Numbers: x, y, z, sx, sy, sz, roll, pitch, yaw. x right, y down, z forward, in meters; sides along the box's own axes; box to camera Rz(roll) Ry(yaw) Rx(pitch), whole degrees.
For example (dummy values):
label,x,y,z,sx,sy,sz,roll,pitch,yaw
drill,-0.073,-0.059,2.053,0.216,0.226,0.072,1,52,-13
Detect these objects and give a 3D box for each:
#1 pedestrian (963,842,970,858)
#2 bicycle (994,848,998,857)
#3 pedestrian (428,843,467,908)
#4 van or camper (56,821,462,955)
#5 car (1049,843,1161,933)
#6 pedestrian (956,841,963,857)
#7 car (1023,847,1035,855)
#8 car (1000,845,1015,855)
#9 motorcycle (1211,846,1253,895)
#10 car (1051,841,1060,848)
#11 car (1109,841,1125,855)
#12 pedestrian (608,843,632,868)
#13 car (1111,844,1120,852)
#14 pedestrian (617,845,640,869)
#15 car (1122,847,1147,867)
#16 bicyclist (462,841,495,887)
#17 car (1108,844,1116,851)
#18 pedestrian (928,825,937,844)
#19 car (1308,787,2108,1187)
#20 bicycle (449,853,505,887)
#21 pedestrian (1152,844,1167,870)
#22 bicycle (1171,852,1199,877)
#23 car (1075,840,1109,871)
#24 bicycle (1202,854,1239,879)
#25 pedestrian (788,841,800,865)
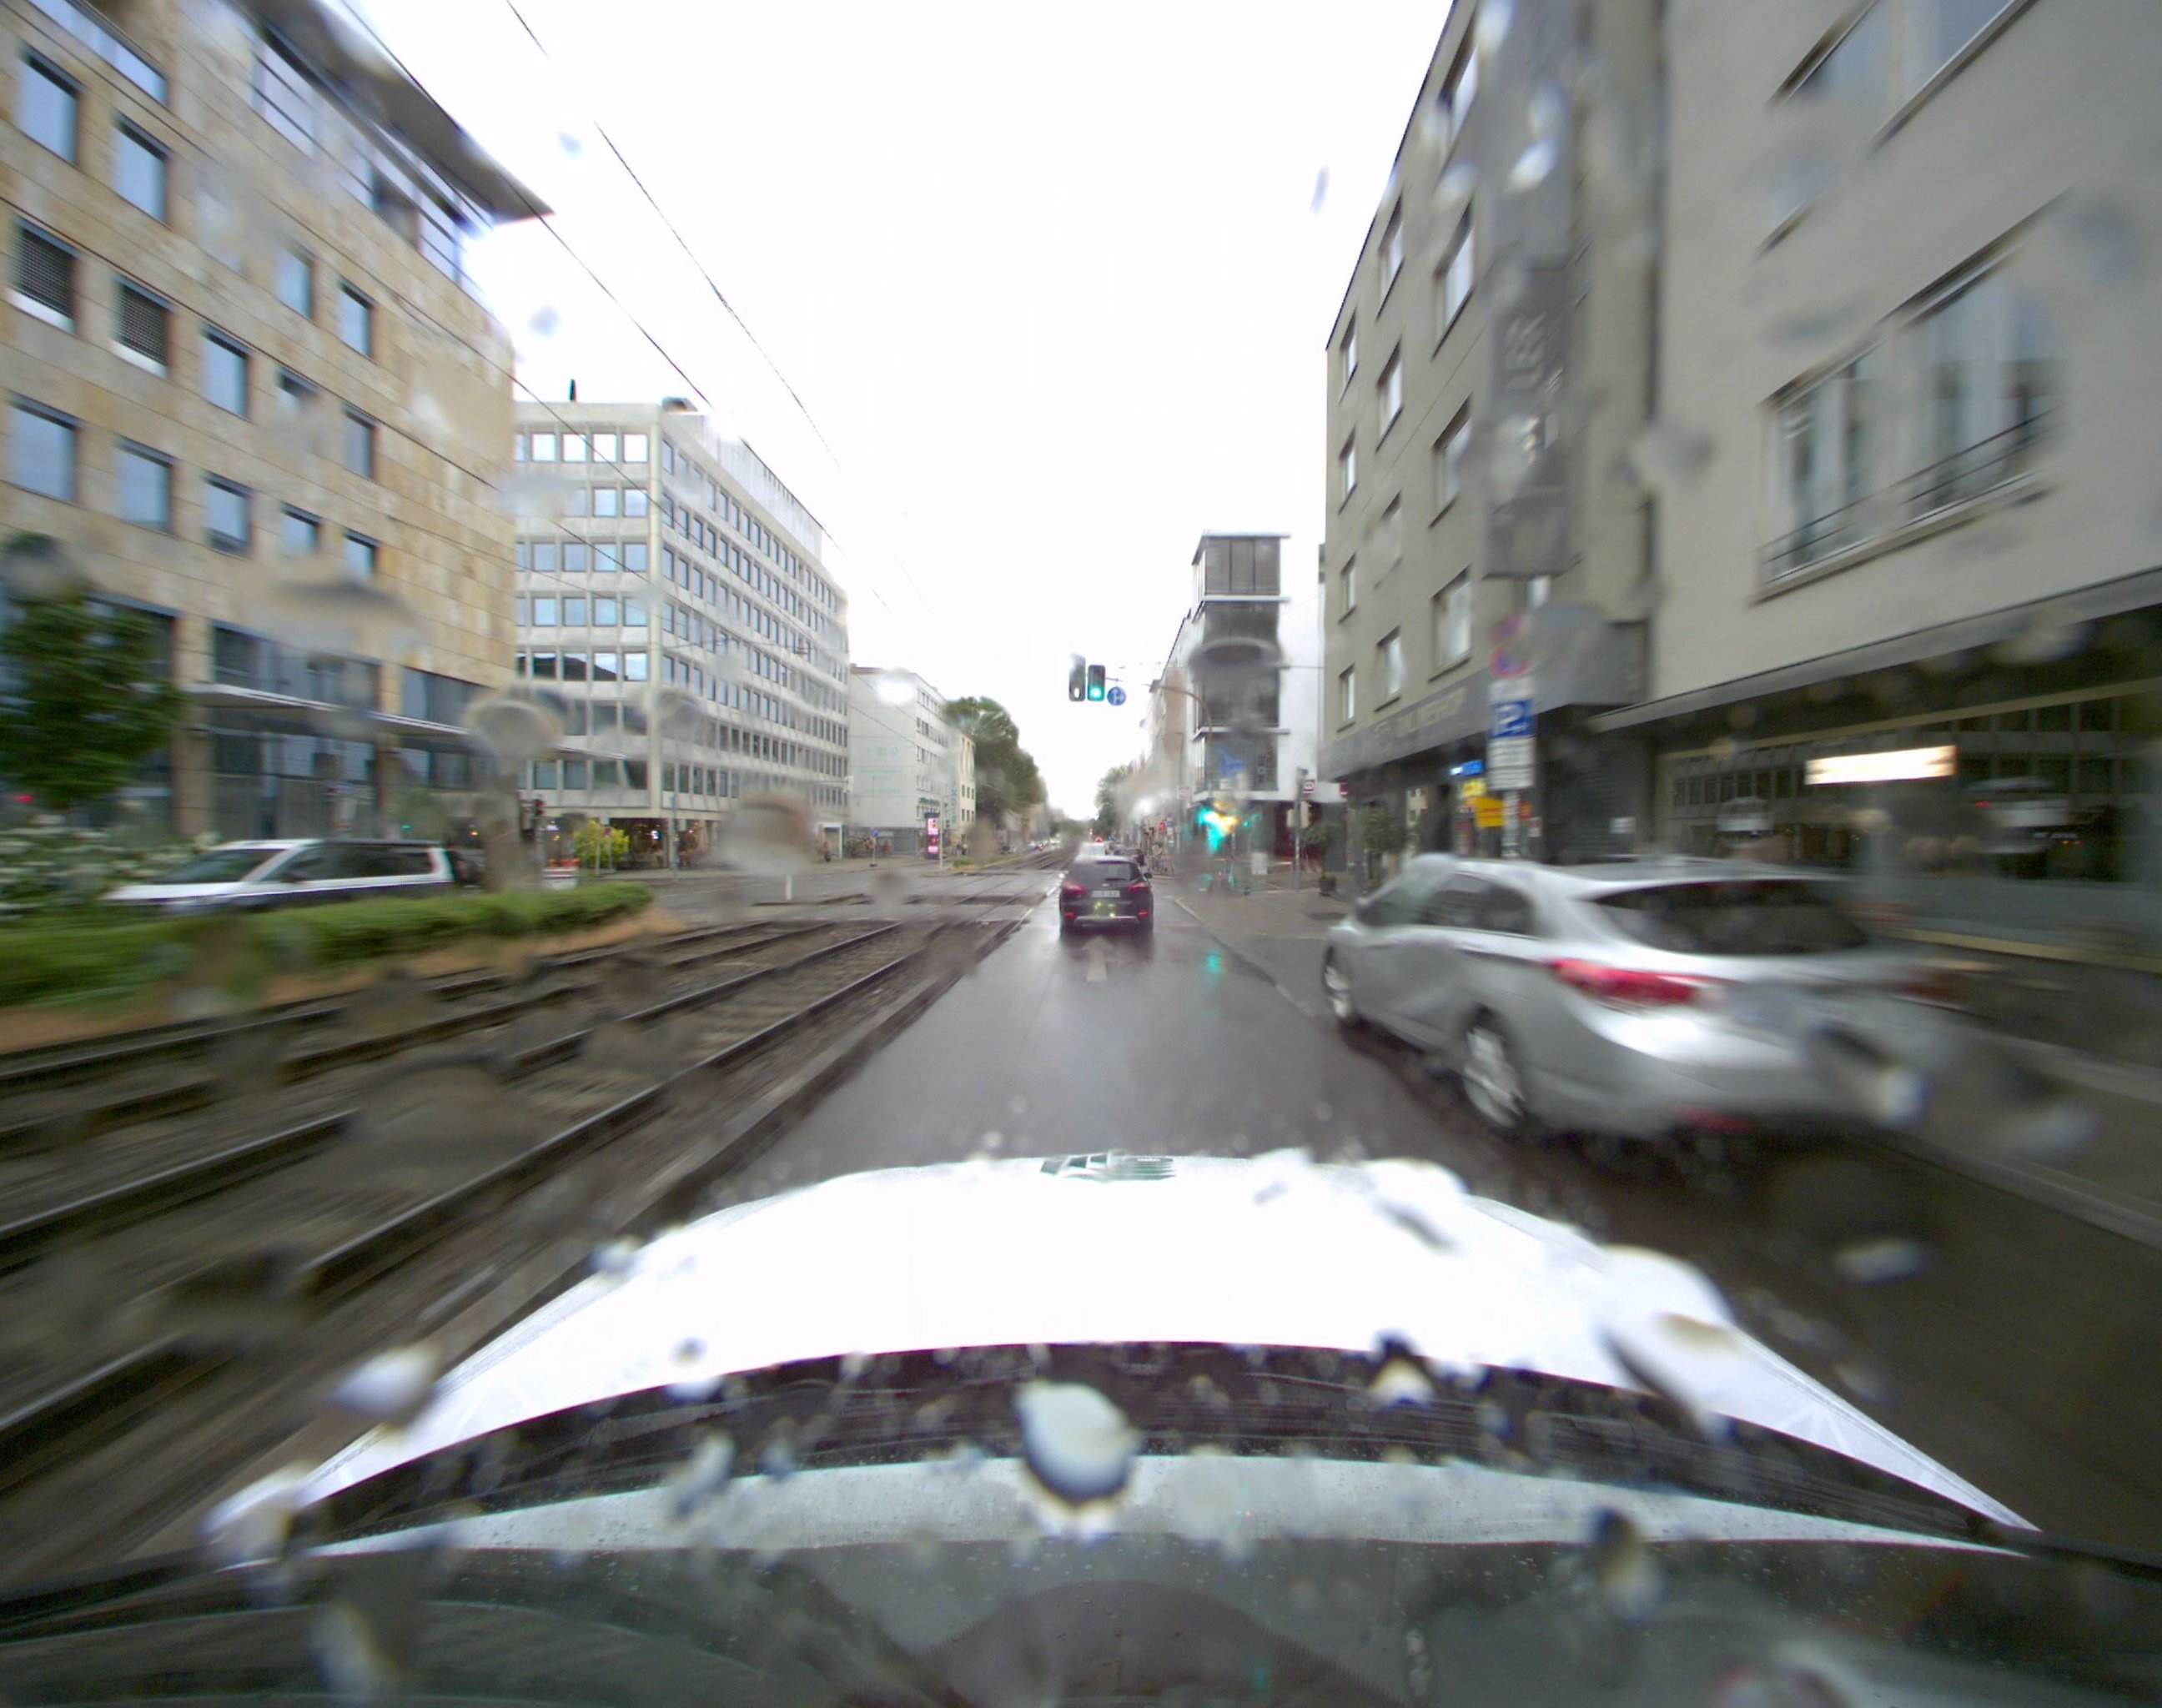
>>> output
label,x,y,z,sx,sy,sz,roll,pitch,yaw
pedestrian,-13.878,-0.511,98.622,0.676,1.896,0.743,1,0,1
bicycle,-12.393,-0.241,118.885,0.590,1.226,2.399,1,0,-6
pedestrian,-17.811,0.590,22.892,0.670,1.781,0.708,1,1,36
van or camper,-14.427,0.541,14.937,2.009,1.997,5.199,1,-1,2
car,0.499,0.617,16.717,1.986,1.594,4.273,0,0,2
pedestrian,-14.706,-0.566,98.681,0.724,1.896,0.983,1,0,1
car,-9.879,-0.614,154.967,1.986,1.519,4.436,1,1,1
car,-10.901,-0.652,121.702,1.737,1.468,4.221,-1,1,1
motorcycle,4.671,0.496,25.138,1.137,1.461,0.676,0,0,-35
car,-6.134,-2.361,198.373,1.986,1.519,4.445,1,-1,2
car,4.350,-0.689,99.185,1.986,1.594,4.573,0,0,2
pedestrian,-28.517,0.066,50.398,0.958,1.532,0.897,1,1,1
car,6.907,-1.201,162.359,1.733,1.489,4.001,0,1,0
pedestrian,-28.533,0.187,51.398,0.891,1.532,0.965,1,1,0
car,4.415,0.241,67.661,1.986,1.594,4.273,0,0,2
bicyclist,-23.950,0.399,32.395,0.706,1.804,0.784,1,1,1
car,6.327,-1.350,167.152,1.637,1.515,4.039,0,1,0
pedestrian,-14.992,-1.959,82.254,0.725,1.896,0.688,1,0,-3
car,3.143,0.539,5.568,2.016,1.594,4.623,0,0,2
bicycle,-24.044,0.633,32.428,1.757,1.311,0.660,0,0,1
pedestrian,4.814,0.161,49.833,0.662,1.582,0.774,0,0,-21
bicycle,5.339,0.525,41.744,0.499,1.259,1.941,1,0,-23
car,0.738,0.097,50.693,1.986,1.816,4.273,0,0,2
bicycle,6.794,0.600,39.637,0.580,1.157,1.935,1,0,-35
pedestrian,-21.723,-0.056,61.645,0.563,1.822,0.843,1,0,-3
